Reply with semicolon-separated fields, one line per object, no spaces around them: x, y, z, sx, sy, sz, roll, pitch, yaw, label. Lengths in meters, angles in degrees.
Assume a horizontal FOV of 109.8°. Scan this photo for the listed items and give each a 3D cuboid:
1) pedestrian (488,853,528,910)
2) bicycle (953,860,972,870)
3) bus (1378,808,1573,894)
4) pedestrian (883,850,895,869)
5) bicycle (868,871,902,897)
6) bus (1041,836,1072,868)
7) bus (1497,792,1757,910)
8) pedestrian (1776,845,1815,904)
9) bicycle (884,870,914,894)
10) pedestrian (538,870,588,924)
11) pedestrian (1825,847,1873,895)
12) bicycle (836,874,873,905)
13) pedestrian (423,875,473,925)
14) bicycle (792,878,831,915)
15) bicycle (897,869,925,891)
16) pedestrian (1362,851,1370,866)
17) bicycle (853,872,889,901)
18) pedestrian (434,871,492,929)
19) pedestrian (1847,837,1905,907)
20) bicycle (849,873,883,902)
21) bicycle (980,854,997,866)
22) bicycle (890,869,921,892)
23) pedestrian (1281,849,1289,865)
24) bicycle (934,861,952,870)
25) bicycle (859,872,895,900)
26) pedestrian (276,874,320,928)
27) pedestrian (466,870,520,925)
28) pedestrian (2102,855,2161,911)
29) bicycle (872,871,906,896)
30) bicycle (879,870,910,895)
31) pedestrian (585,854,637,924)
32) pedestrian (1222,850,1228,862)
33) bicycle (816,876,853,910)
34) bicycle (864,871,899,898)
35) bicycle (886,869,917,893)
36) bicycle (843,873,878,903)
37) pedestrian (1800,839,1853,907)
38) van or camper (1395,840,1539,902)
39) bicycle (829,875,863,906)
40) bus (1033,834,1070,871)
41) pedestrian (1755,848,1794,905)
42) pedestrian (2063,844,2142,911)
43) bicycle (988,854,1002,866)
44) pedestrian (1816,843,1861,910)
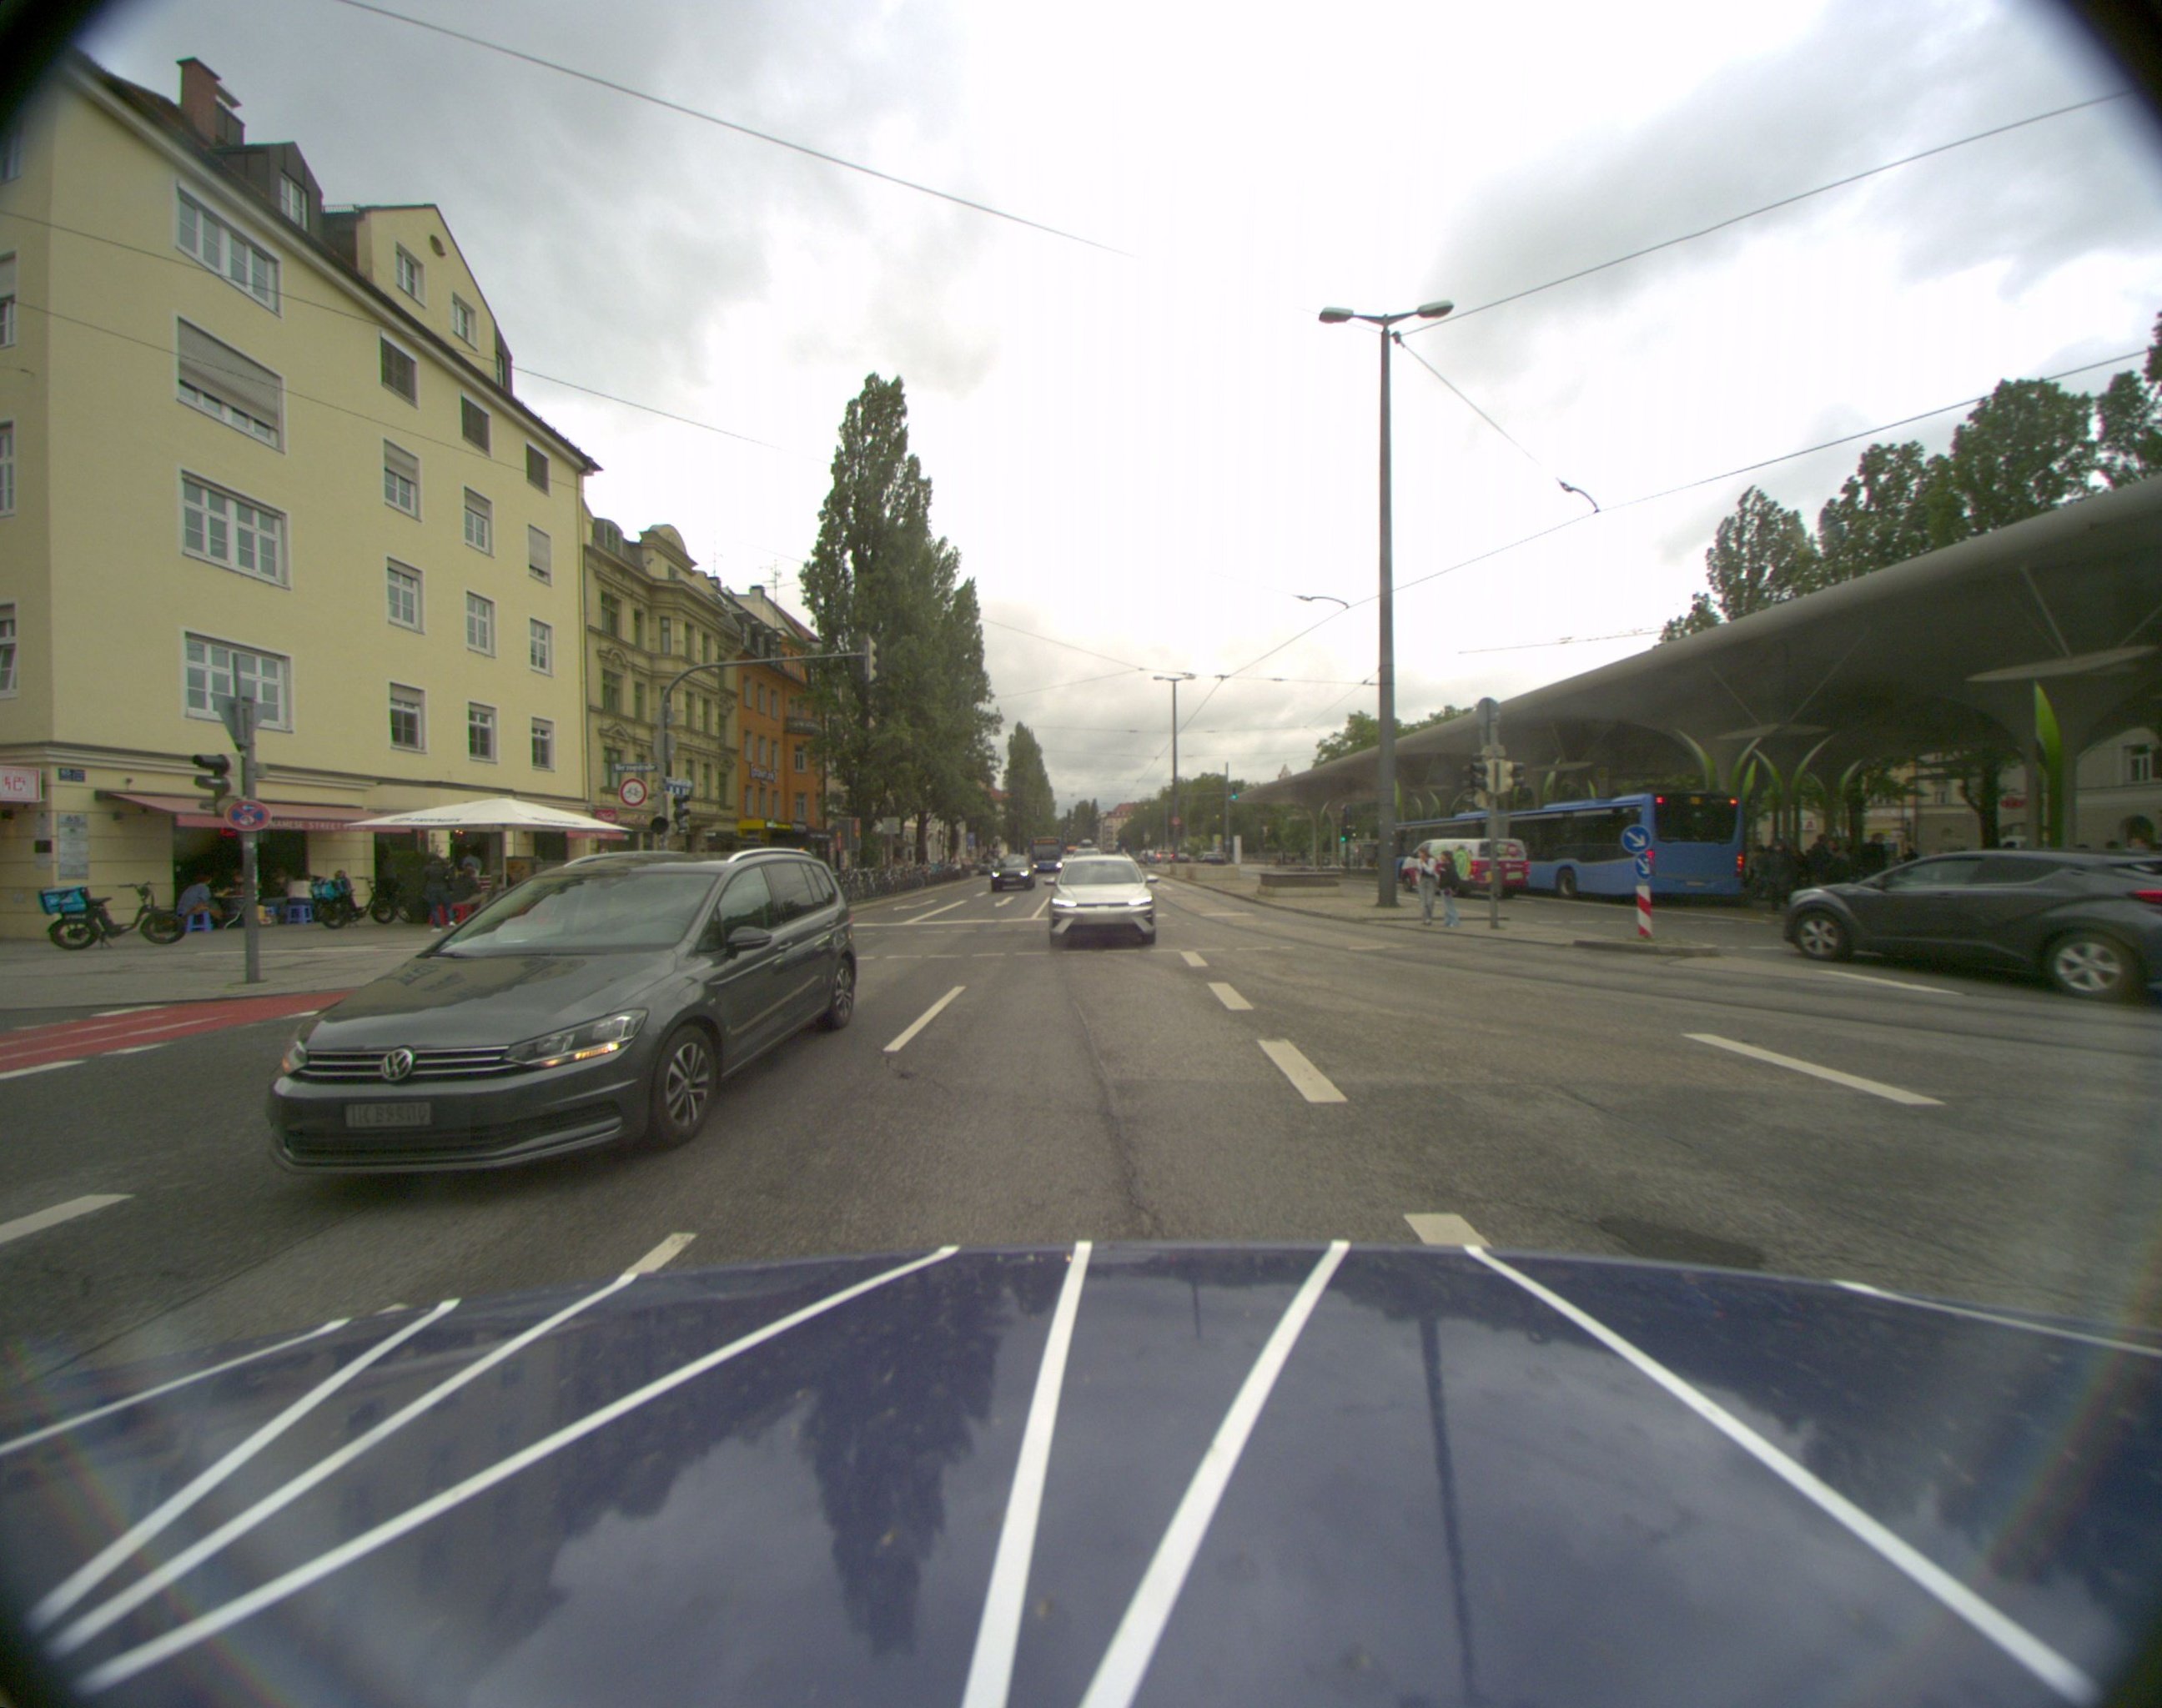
-16.809;0.789;22.296;0.616;1.623;0.677;-1;1;1;pedestrian
-11.605;1.045;74.381;1.837;0.911;0.392;-2;1;2;bicycle
16.162;-0.129;32.412;2.667;2.990;10.514;1;0;-1;bus
-17.042;0.483;67.406;0.748;1.704;1.017;-1;1;1;pedestrian
-7.956;1.205;30.775;1.836;0.990;0.349;1;1;40;bicycle
-2.360;-0.166;76.576;2.637;2.956;8.534;-3;0;1;bus
16.156;-0.088;23.390;2.667;2.990;7.513;1;0;1;bus
19.317;0.545;20.554;0.564;1.563;0.533;-1;1;1;pedestrian
-7.862;1.193;32.802;1.836;0.990;0.349;1;1;45;bicycle
-12.885;1.056;18.921;0.679;1.303;0.796;-1;1;1;pedestrian
25.667;0.560;25.408;0.812;1.602;0.791;-1;1;7;pedestrian
-7.929;1.222;26.559;1.836;0.990;0.349;1;1;44;bicycle
-15.830;1.142;19.024;0.627;1.196;0.700;-1;1;1;pedestrian
-7.937;1.240;22.328;0.349;0.990;1.836;-1;1;-45;bicycle
-7.836;1.183;34.931;0.326;0.990;1.836;-1;1;-45;bicycle
29.933;0.480;79.710;0.739;1.591;0.798;0;1;16;pedestrian
-7.920;1.213;28.629;1.836;0.990;0.349;1;1;40;bicycle
-14.699;1.083;18.097;0.679;1.304;0.796;-1;1;1;pedestrian
20.798;0.465;19.892;0.805;1.806;0.706;0;1;16;pedestrian
-7.923;1.216;27.942;1.836;0.990;0.349;1;1;44;bicycle
-8.814;0.556;72.307;1.740;1.096;0.360;0;1;36;bicycle
-7.890;1.188;34.157;1.836;0.990;0.349;1;1;41;bicycle
21.783;0.317;81.148;0.735;1.706;0.861;0;1;11;pedestrian
-13.479;1.132;74.196;1.576;0.830;0.392;-2;1;-2;bicycle
-7.890;1.209;29.294;1.836;0.990;0.349;1;1;40;bicycle
-19.257;1.155;18.693;0.479;1.291;0.527;-1;1;-1;pedestrian
-14.679;1.078;18.986;0.679;1.304;0.796;-1;1;1;pedestrian
25.532;0.693;18.383;0.840;1.310;0.877;-2;1;-43;pedestrian
-7.950;1.202;31.430;1.836;0.990;0.349;1;1;40;bicycle
-7.898;1.198;32.085;1.836;0.990;0.349;1;1;45;bicycle
-11.852;0.861;19.203;0.884;1.733;0.857;-1;1;-16;pedestrian
19.149;0.233;101.229;0.632;1.549;0.589;0;1;0;pedestrian
-7.951;1.232;24.484;0.349;0.990;1.836;-1;1;-45;bicycle
-7.870;1.205;29.966;1.836;0.990;0.349;1;1;40;bicycle
-7.922;1.193;33.492;1.836;0.990;0.349;1;1;41;bicycle
-7.932;1.219;27.276;1.836;0.990;0.349;1;1;44;bicycle
18.737;0.460;19.101;0.632;1.665;0.747;-1;1;-18;pedestrian
12.602;0.494;25.311;1.933;1.815;5.439;1;0;-1;van or camper
-8.049;1.230;25.993;0.349;0.990;1.836;-1;1;-43;bicycle
-2.497;-0.118;67.550;2.637;2.956;9.466;-3;0;1;bus
18.534;0.598;20.309;0.614;1.496;0.471;-1;1;-1;pedestrian
28.092;0.634;20.915;1.008;1.810;0.840;-1;1;5;pedestrian
-8.218;0.566;72.900;0.360;1.096;1.740;-1;1;-44;bicycle
19.518;0.561;19.602;0.703;1.701;0.758;0;1;36;pedestrian
